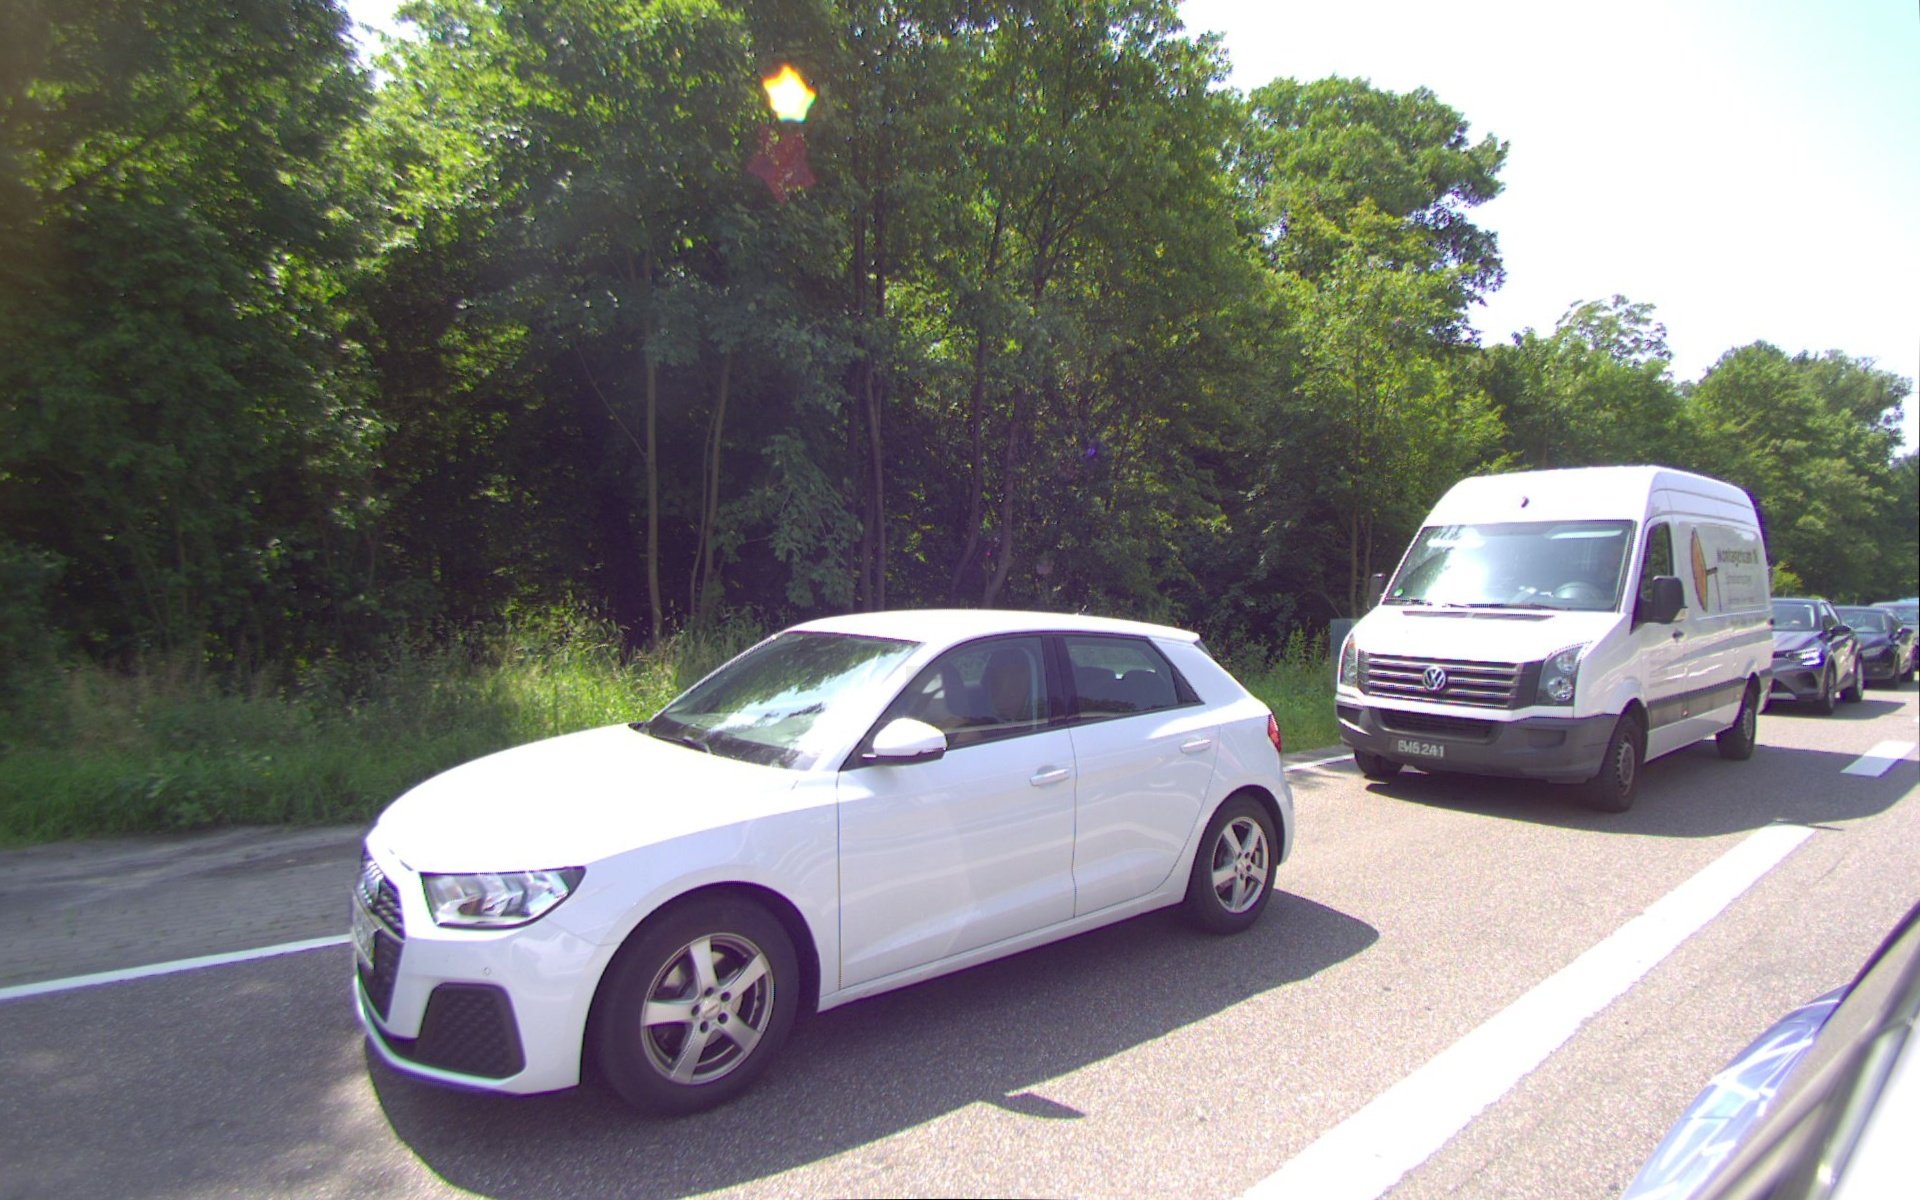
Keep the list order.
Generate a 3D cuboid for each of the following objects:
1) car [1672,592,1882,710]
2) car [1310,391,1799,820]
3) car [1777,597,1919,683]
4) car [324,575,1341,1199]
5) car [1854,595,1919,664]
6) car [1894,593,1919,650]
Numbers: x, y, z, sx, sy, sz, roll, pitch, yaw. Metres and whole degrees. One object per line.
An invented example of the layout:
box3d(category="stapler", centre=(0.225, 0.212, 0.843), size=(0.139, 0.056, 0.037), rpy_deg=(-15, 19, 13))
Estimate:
box3d(category="car", centre=(11.935, 0.624, 14.687), size=(4.157, 1.479, 1.794), rpy_deg=(0, 0, -43))
box3d(category="car", centre=(5.588, 0.035, 9.025), size=(5.953, 2.679, 1.973), rpy_deg=(0, 0, -41))
box3d(category="car", centre=(16.611, 0.646, 18.691), size=(4.157, 1.372, 1.794), rpy_deg=(0, 1, -43))
box3d(category="car", centre=(-0.255, 0.677, 4.235), size=(3.927, 1.454, 1.693), rpy_deg=(0, -1, -39))
box3d(category="car", centre=(22.182, 0.636, 23.429), size=(4.157, 1.457, 1.794), rpy_deg=(0, 1, -43))
box3d(category="car", centre=(26.716, 0.569, 27.371), size=(4.157, 1.457, 1.794), rpy_deg=(0, 1, -43))
